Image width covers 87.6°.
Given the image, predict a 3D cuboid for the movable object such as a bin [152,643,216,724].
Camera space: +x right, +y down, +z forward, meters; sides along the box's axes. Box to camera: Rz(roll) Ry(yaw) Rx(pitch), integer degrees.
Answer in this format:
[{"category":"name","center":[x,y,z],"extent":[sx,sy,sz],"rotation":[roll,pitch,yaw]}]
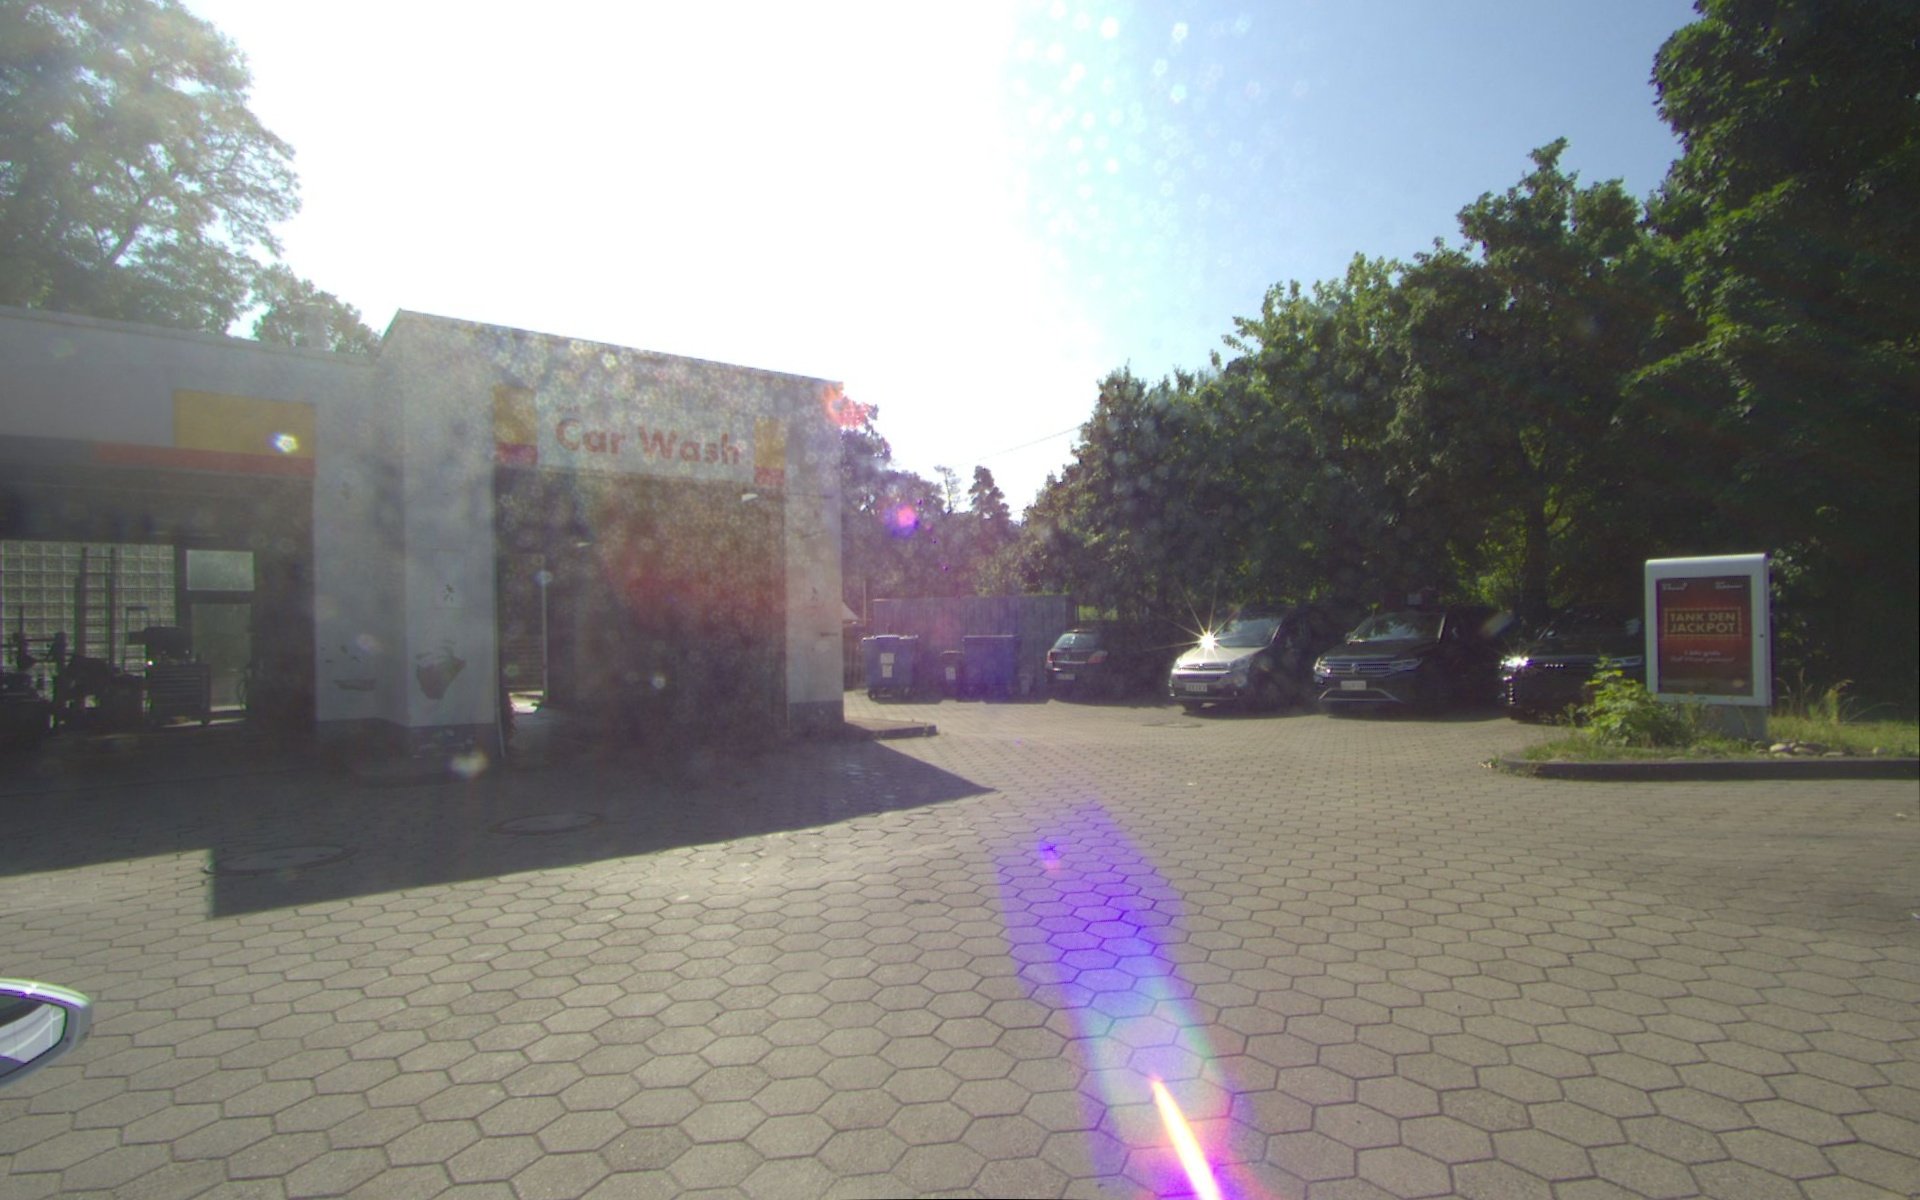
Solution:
[{"category":"movable object such as a bin","center":[-12.475,1.332,16.117],"extent":[0.789,1.251,0.541],"rotation":[-1,-3,-37]}]

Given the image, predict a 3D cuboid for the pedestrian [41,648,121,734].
[{"category":"pedestrian","center":[-13.184,1.360,15.043],"extent":[0.856,1.212,0.737],"rotation":[-1,-3,-39]}]

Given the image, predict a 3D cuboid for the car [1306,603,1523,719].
[{"category":"car","center":[7.379,0.917,16.108],"extent":[3.897,1.649,1.670],"rotation":[0,-3,-41]}]

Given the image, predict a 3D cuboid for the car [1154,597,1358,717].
[{"category":"car","center":[5.448,0.960,18.226],"extent":[3.895,1.817,1.670],"rotation":[-3,0,-41]}]

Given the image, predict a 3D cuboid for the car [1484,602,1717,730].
[{"category":"car","center":[8.987,0.840,13.939],"extent":[3.897,1.530,1.670],"rotation":[1,-2,-41]}]

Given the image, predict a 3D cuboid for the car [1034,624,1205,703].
[{"category":"car","center":[3.411,1.269,21.158],"extent":[3.468,1.457,1.671],"rotation":[0,0,-38]}]

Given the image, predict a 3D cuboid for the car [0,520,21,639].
[{"category":"car","center":[-12.908,-0.336,12.196],"extent":[1.631,1.504,3.975],"rotation":[-1,-4,-36]}]

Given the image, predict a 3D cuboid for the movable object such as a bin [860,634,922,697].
[{"category":"movable object such as a bin","center":[-1.496,1.421,21.884],"extent":[1.211,1.342,0.850],"rotation":[-1,-1,5]}]

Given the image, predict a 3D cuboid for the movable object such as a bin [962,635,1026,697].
[{"category":"movable object such as a bin","center":[0.744,1.416,21.590],"extent":[1.212,1.306,0.865],"rotation":[-1,-1,14]}]

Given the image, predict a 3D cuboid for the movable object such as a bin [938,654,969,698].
[{"category":"movable object such as a bin","center":[-0.144,1.643,21.796],"extent":[0.484,0.921,0.866],"rotation":[-1,-1,13]}]
